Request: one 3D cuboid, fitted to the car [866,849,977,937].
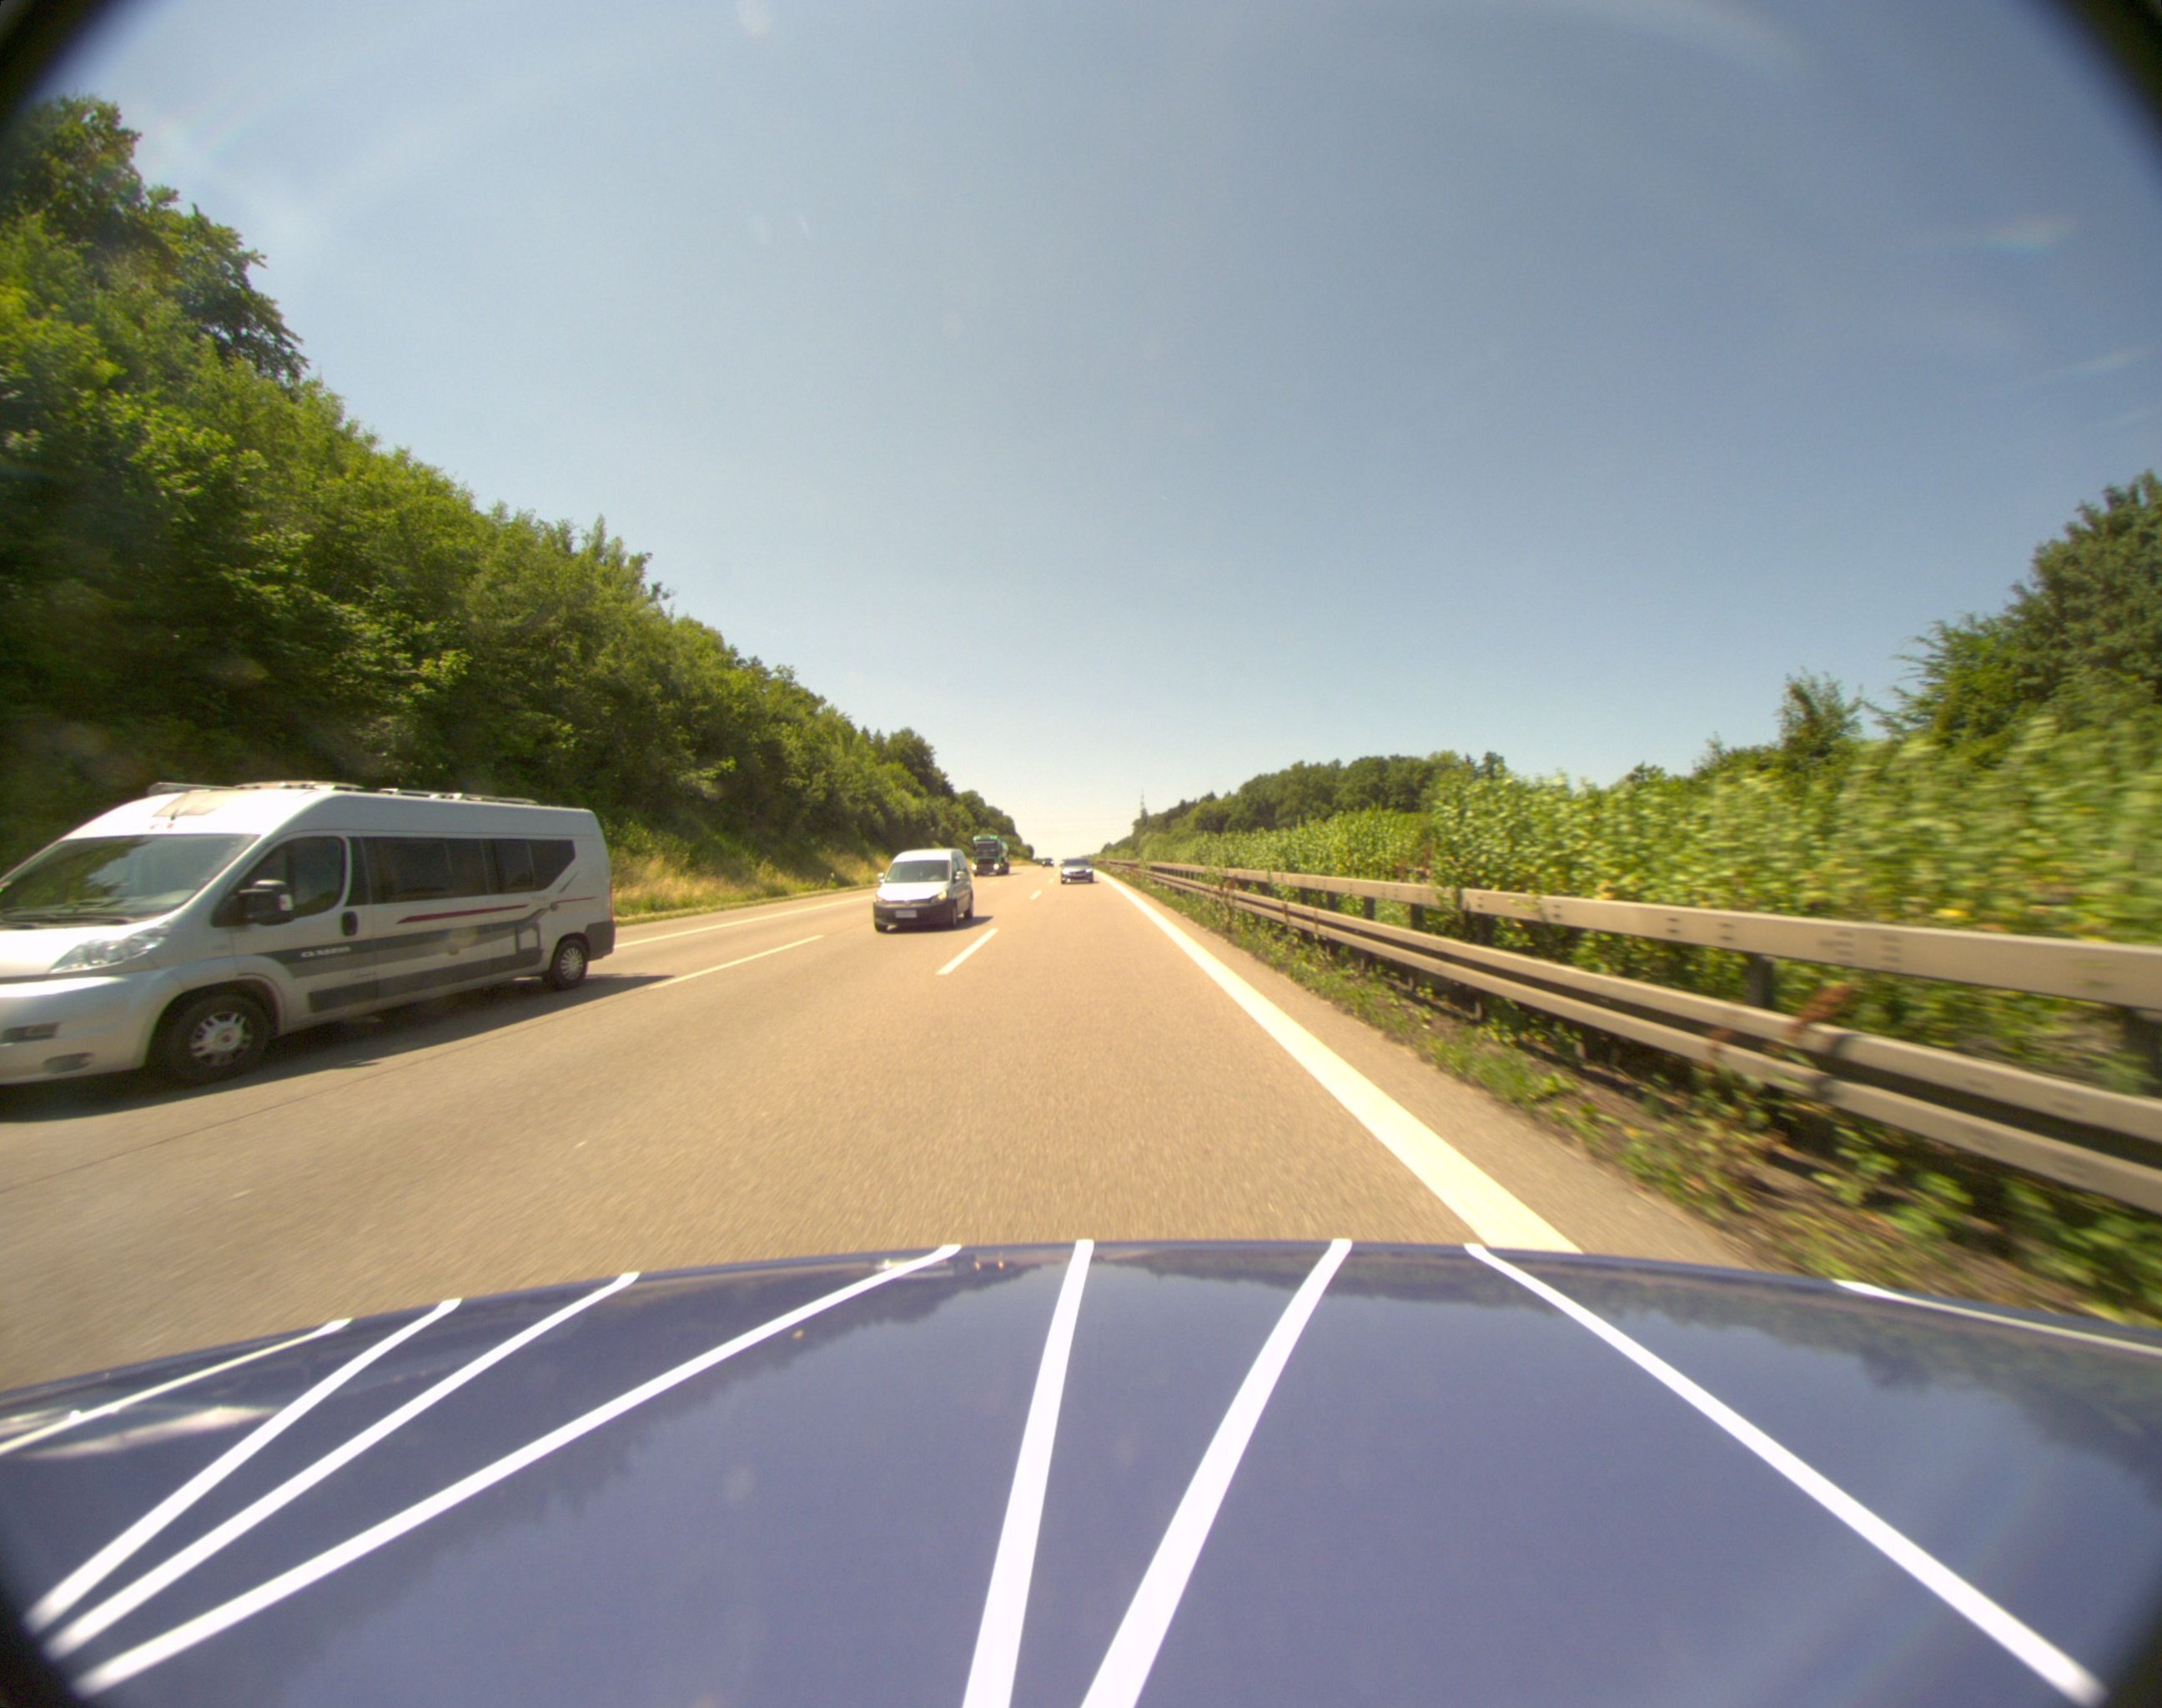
[{"bbox_3d":[-3.712,0.827,18.573,1.750,1.819,4.800,-2,0,-2],"label":"car"}]

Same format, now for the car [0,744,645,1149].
[{"bbox_3d":[-7.689,0.661,8.131,2.094,2.560,6.623,-2,-1,1],"label":"car"}]

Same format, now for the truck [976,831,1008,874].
[{"bbox_3d":[-8.341,-0.137,71.511,2.516,3.819,4.892,-2,-1,-3],"label":"truck"}]

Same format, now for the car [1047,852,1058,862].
[{"bbox_3d":[-4.766,0.489,127.863,1.788,1.550,3.942,-2,-1,-3],"label":"car"}]

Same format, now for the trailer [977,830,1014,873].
[{"bbox_3d":[-8.523,-0.155,77.109,2.594,4.003,10.470,-2,-1,-1],"label":"trailer"}]

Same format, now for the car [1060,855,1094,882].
[{"bbox_3d":[-0.186,0.831,43.513,1.768,1.400,4.000,-2,-1,2],"label":"car"}]
